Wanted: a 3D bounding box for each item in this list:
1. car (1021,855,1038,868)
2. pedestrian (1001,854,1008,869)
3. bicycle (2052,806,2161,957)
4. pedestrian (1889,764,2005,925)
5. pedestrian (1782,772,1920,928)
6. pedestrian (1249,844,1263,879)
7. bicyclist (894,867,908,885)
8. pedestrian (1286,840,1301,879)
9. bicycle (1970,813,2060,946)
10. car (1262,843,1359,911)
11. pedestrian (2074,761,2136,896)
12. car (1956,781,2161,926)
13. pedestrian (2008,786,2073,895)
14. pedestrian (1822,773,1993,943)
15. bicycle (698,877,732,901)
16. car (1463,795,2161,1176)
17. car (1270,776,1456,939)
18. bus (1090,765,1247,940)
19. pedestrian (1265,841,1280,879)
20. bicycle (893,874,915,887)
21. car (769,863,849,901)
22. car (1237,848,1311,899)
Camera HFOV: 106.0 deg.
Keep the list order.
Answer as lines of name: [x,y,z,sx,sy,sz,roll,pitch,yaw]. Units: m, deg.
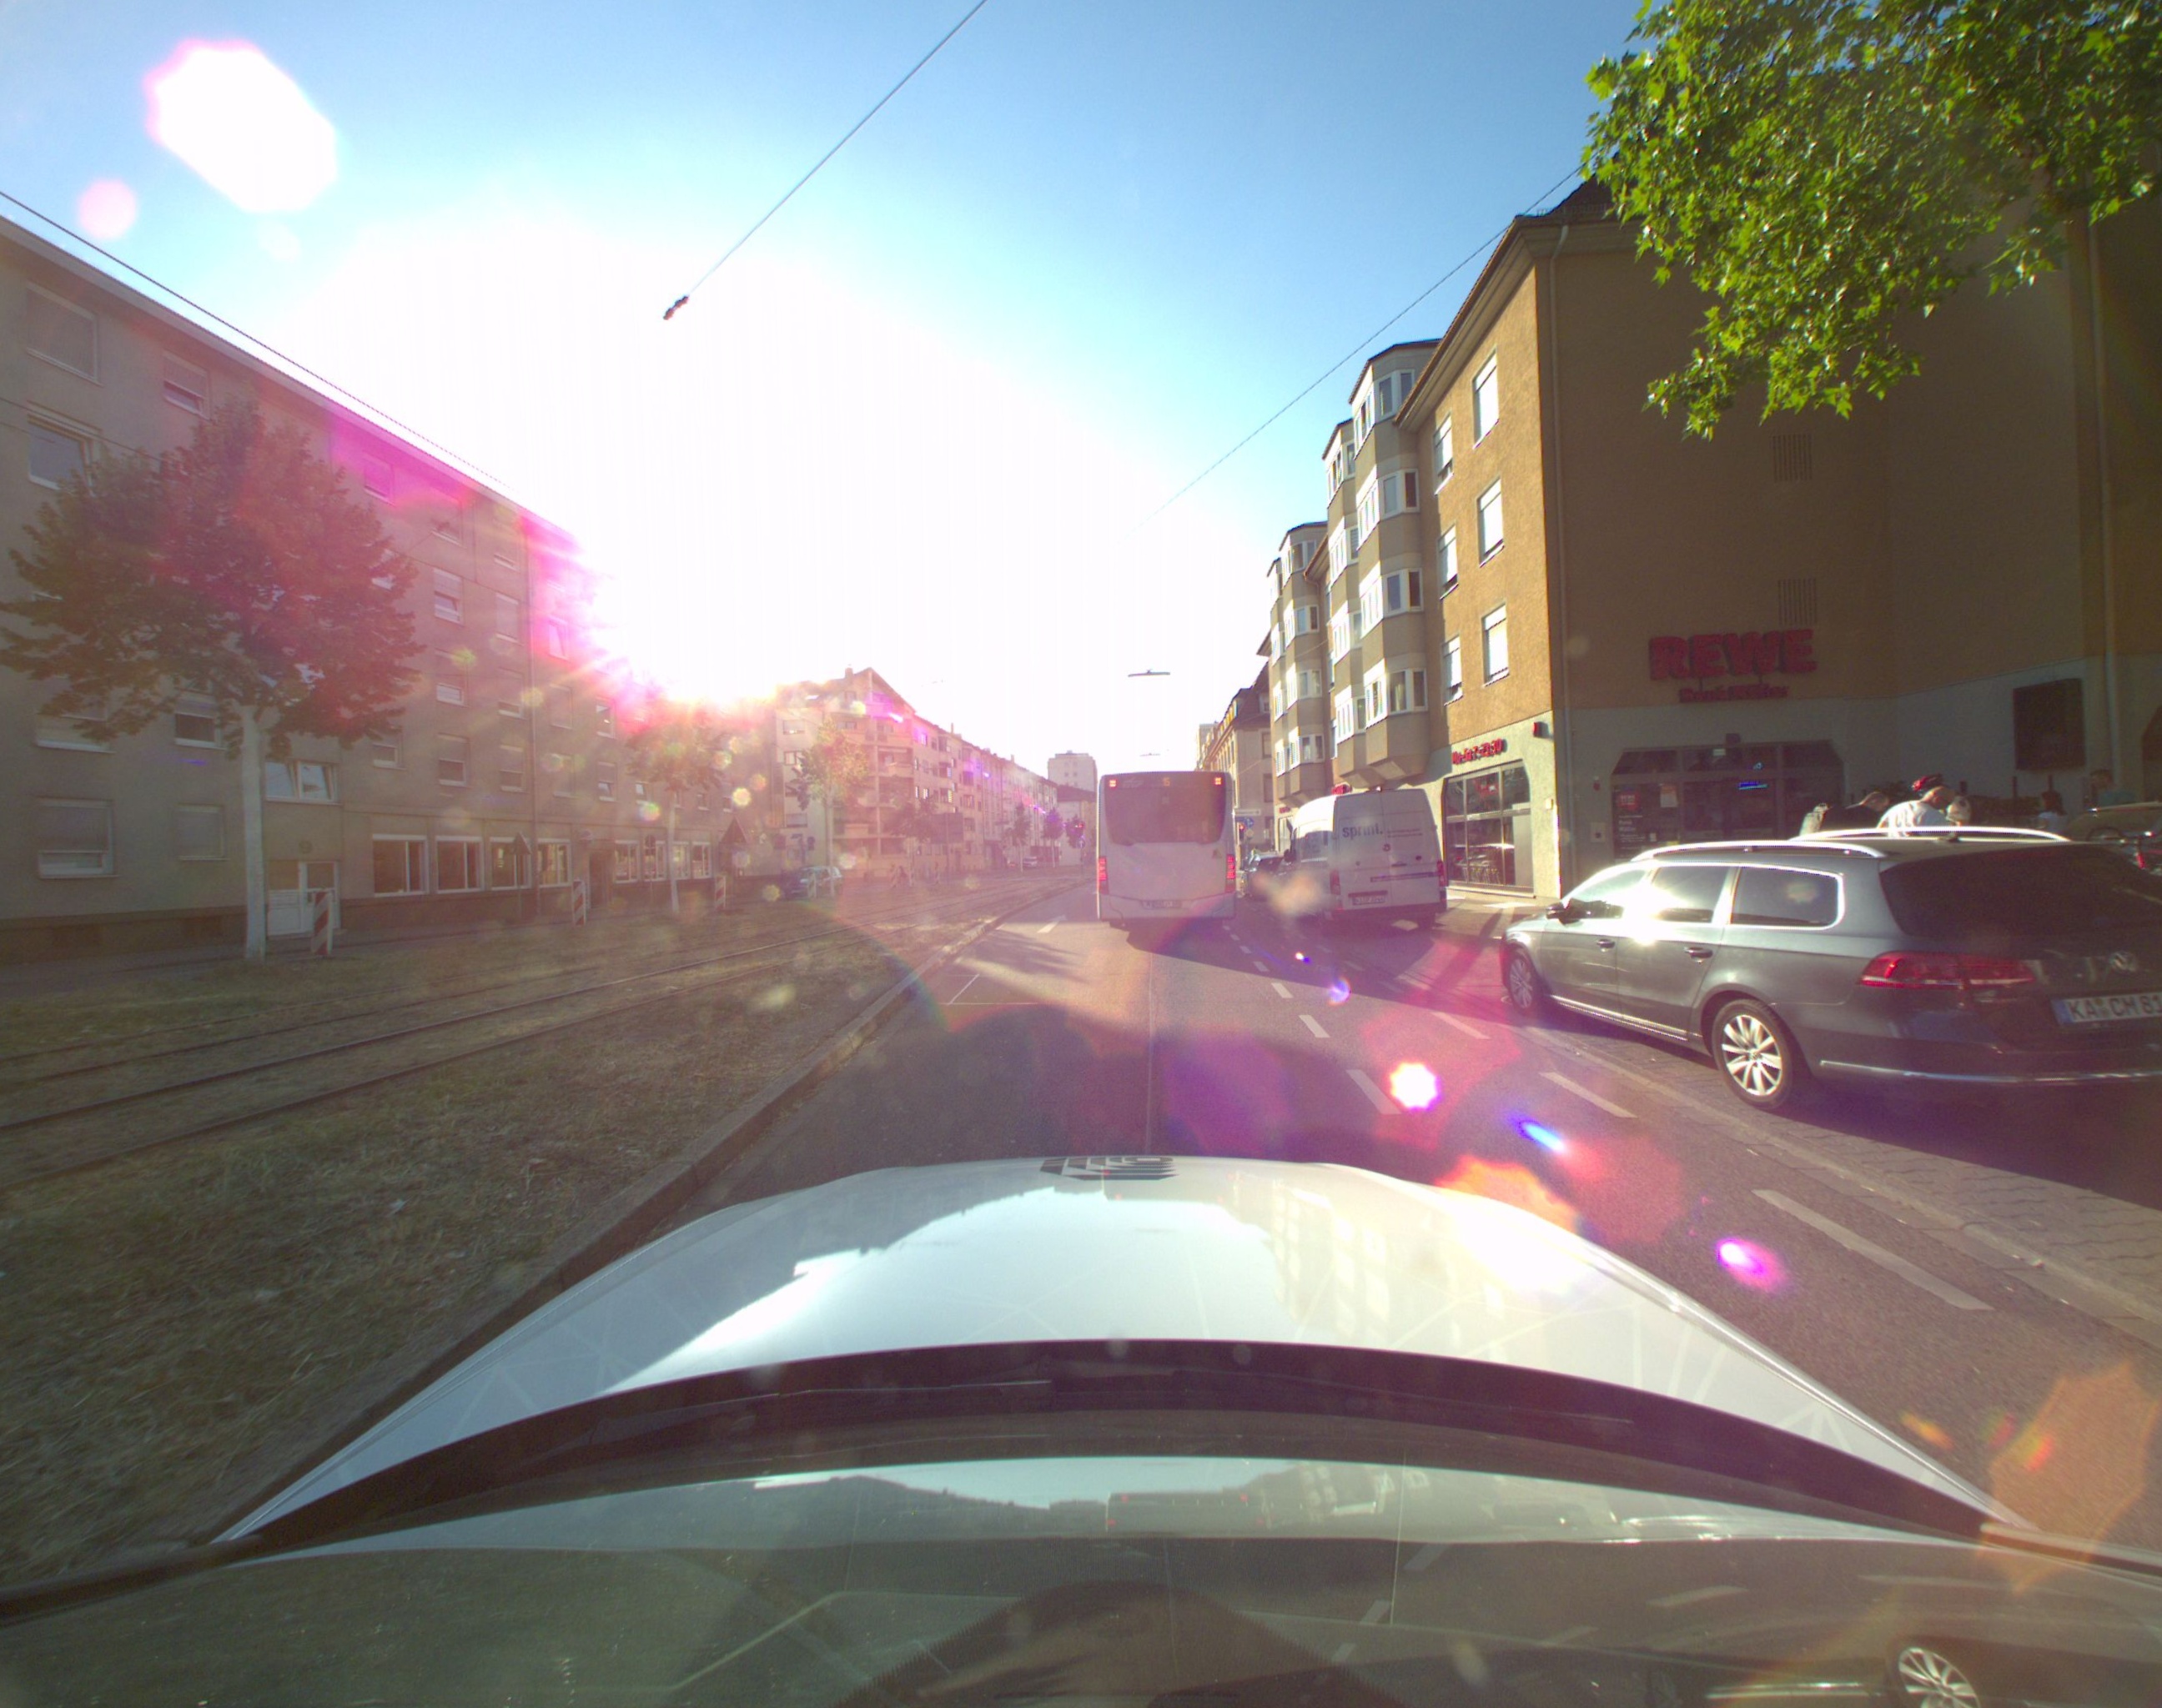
car: [-7.761,1.071,123.085,1.802,1.797,4.253,-3,0,7]
pedestrian: [-10.763,1.043,115.055,0.783,2.013,0.891,-2,-1,2]
bicycle: [9.311,0.206,7.249,1.589,1.226,0.644,-2,-1,-33]
pedestrian: [10.156,-0.110,9.569,0.526,1.781,0.650,-6,0,-2]
pedestrian: [9.295,-0.048,9.862,0.802,1.751,0.770,-6,0,5]
pedestrian: [8.938,0.383,41.675,0.545,1.784,0.449,-2,-1,0]
bicyclist: [-14.898,1.831,67.338,0.522,1.447,0.971,-3,-1,36]
pedestrian: [9.732,0.245,37.312,0.544,1.784,0.450,0,-1,5]
bicycle: [9.304,0.217,8.099,1.527,1.226,0.399,-2,-1,-35]
car: [6.064,0.566,21.950,1.829,1.588,3.791,-3,0,5]
pedestrian: [14.726,-0.363,11.708,0.578,1.882,0.469,-2,-1,-36]
car: [12.731,-0.039,8.878,3.996,1.432,2.002,-2,-3,4]
pedestrian: [14.187,-0.196,12.038,0.640,1.568,0.418,-2,-1,-25]
pedestrian: [8.697,0.034,8.615,0.657,1.636,0.989,-6,0,-2]
bicycle: [-18.778,1.782,41.825,0.743,1.115,1.781,-2,0,5]
car: [4.579,0.555,5.787,1.689,1.530,4.657,-5,-1,4]
car: [5.370,0.068,16.490,2.007,2.551,5.793,-6,-1,5]
bus: [1.956,-0.020,18.813,2.725,3.056,8.866,-1,0,5]
pedestrian: [9.201,0.303,39.170,0.544,1.784,0.450,-3,-1,5]
bicycle: [-14.673,2.222,67.574,0.522,0.984,1.895,-3,0,36]
car: [-13.802,1.375,41.685,1.802,1.559,4.945,-4,1,7]
car: [6.469,0.605,27.752,1.829,1.536,4.236,-3,0,5]
